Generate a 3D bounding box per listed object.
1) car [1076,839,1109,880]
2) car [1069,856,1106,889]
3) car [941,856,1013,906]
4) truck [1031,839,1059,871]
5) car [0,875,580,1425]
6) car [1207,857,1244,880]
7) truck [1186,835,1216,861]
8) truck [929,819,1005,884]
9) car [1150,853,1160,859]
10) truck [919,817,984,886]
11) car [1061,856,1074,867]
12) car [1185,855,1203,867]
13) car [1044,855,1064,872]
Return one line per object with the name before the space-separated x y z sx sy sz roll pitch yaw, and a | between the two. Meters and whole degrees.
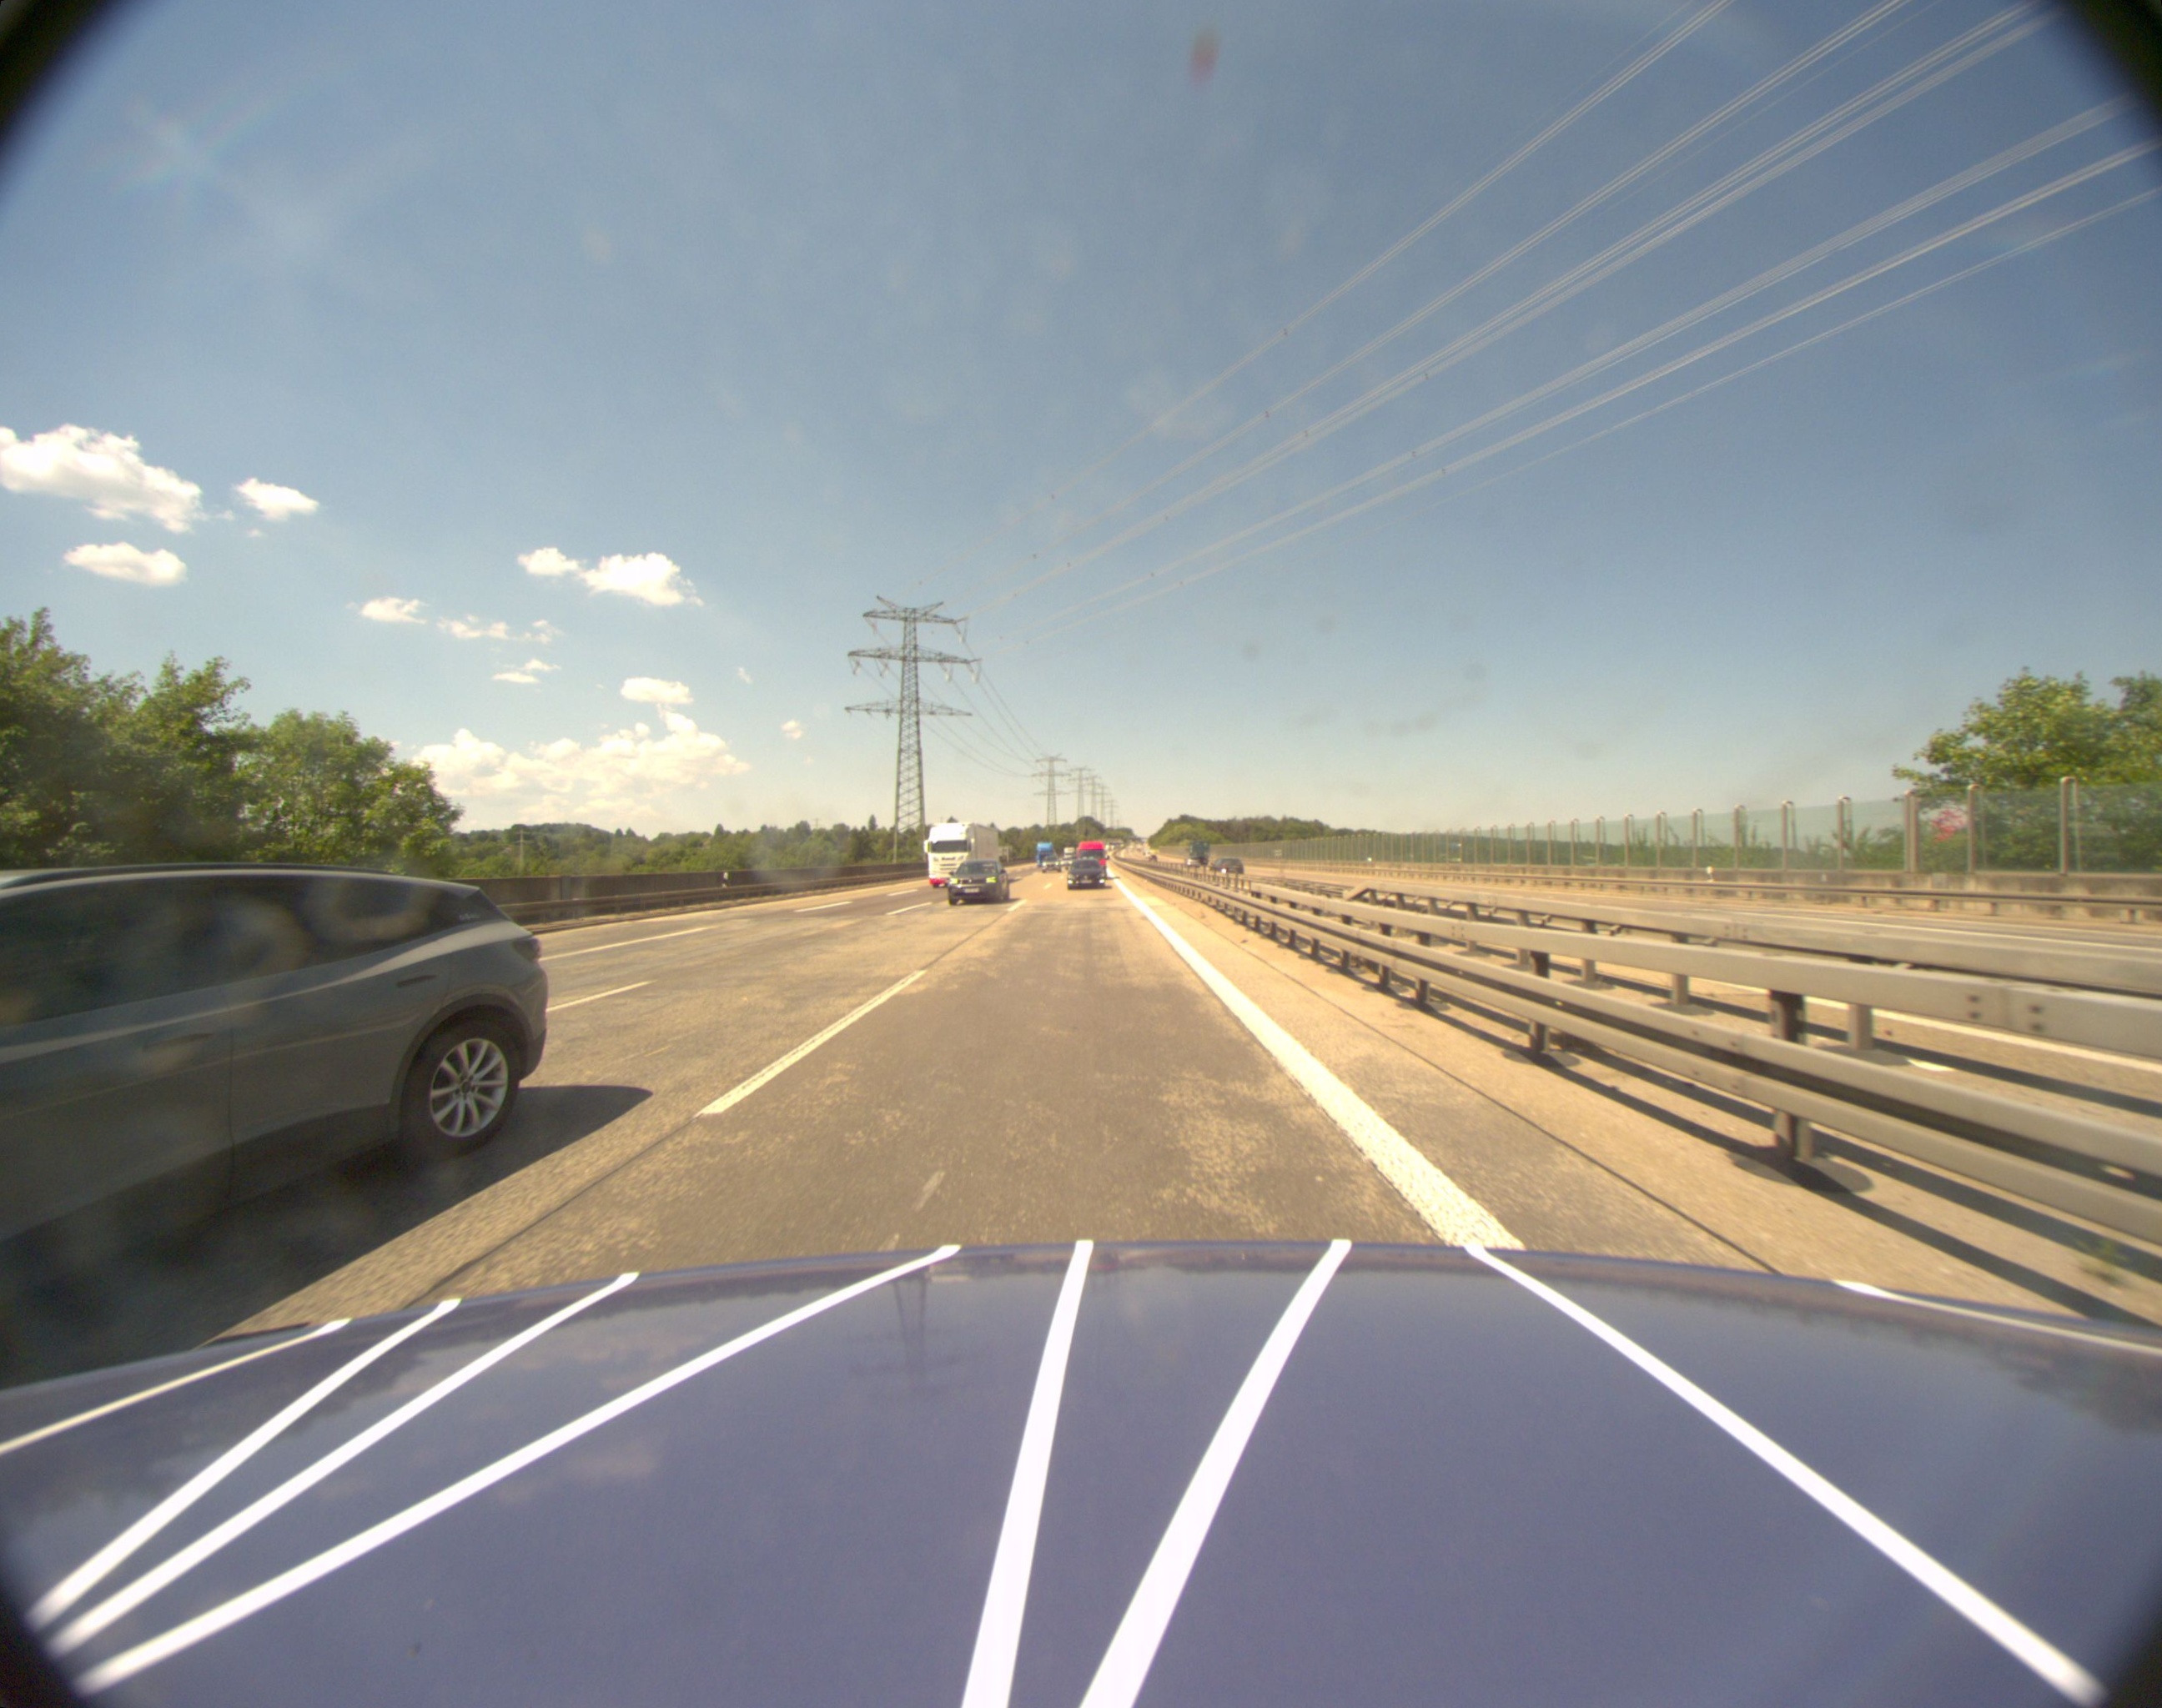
car | 0.776 0.330 50.407 2.100 2.598 4.497 0 0 1
car | 0.342 0.877 37.678 1.735 1.535 3.750 0 0 1
car | -3.705 0.928 27.881 1.955 1.636 4.047 -3 0 1
truck | -6.042 0.188 130.595 3.797 4.970 14.924 -2 0 1
car | -4.302 0.990 2.710 1.873 1.626 4.586 -2 0 1
car | 9.953 0.979 52.643 1.786 1.465 4.489 0 0 0
truck | 19.911 -0.900 126.836 3.315 4.113 11.091 1 0 1
truck | -7.687 -0.117 53.311 3.076 3.884 12.504 -2 0 1
car | 17.283 0.443 178.019 1.955 1.557 4.047 0 0 1
truck | -7.784 -0.143 46.258 3.076 3.885 3.847 -2 0 1
car | -2.026 1.137 115.738 1.879 1.591 3.689 0 0 1
car | 15.308 0.970 103.302 1.786 1.595 4.047 0 -1 -1
car | -2.785 1.003 78.715 1.749 1.691 4.089 0 0 1
